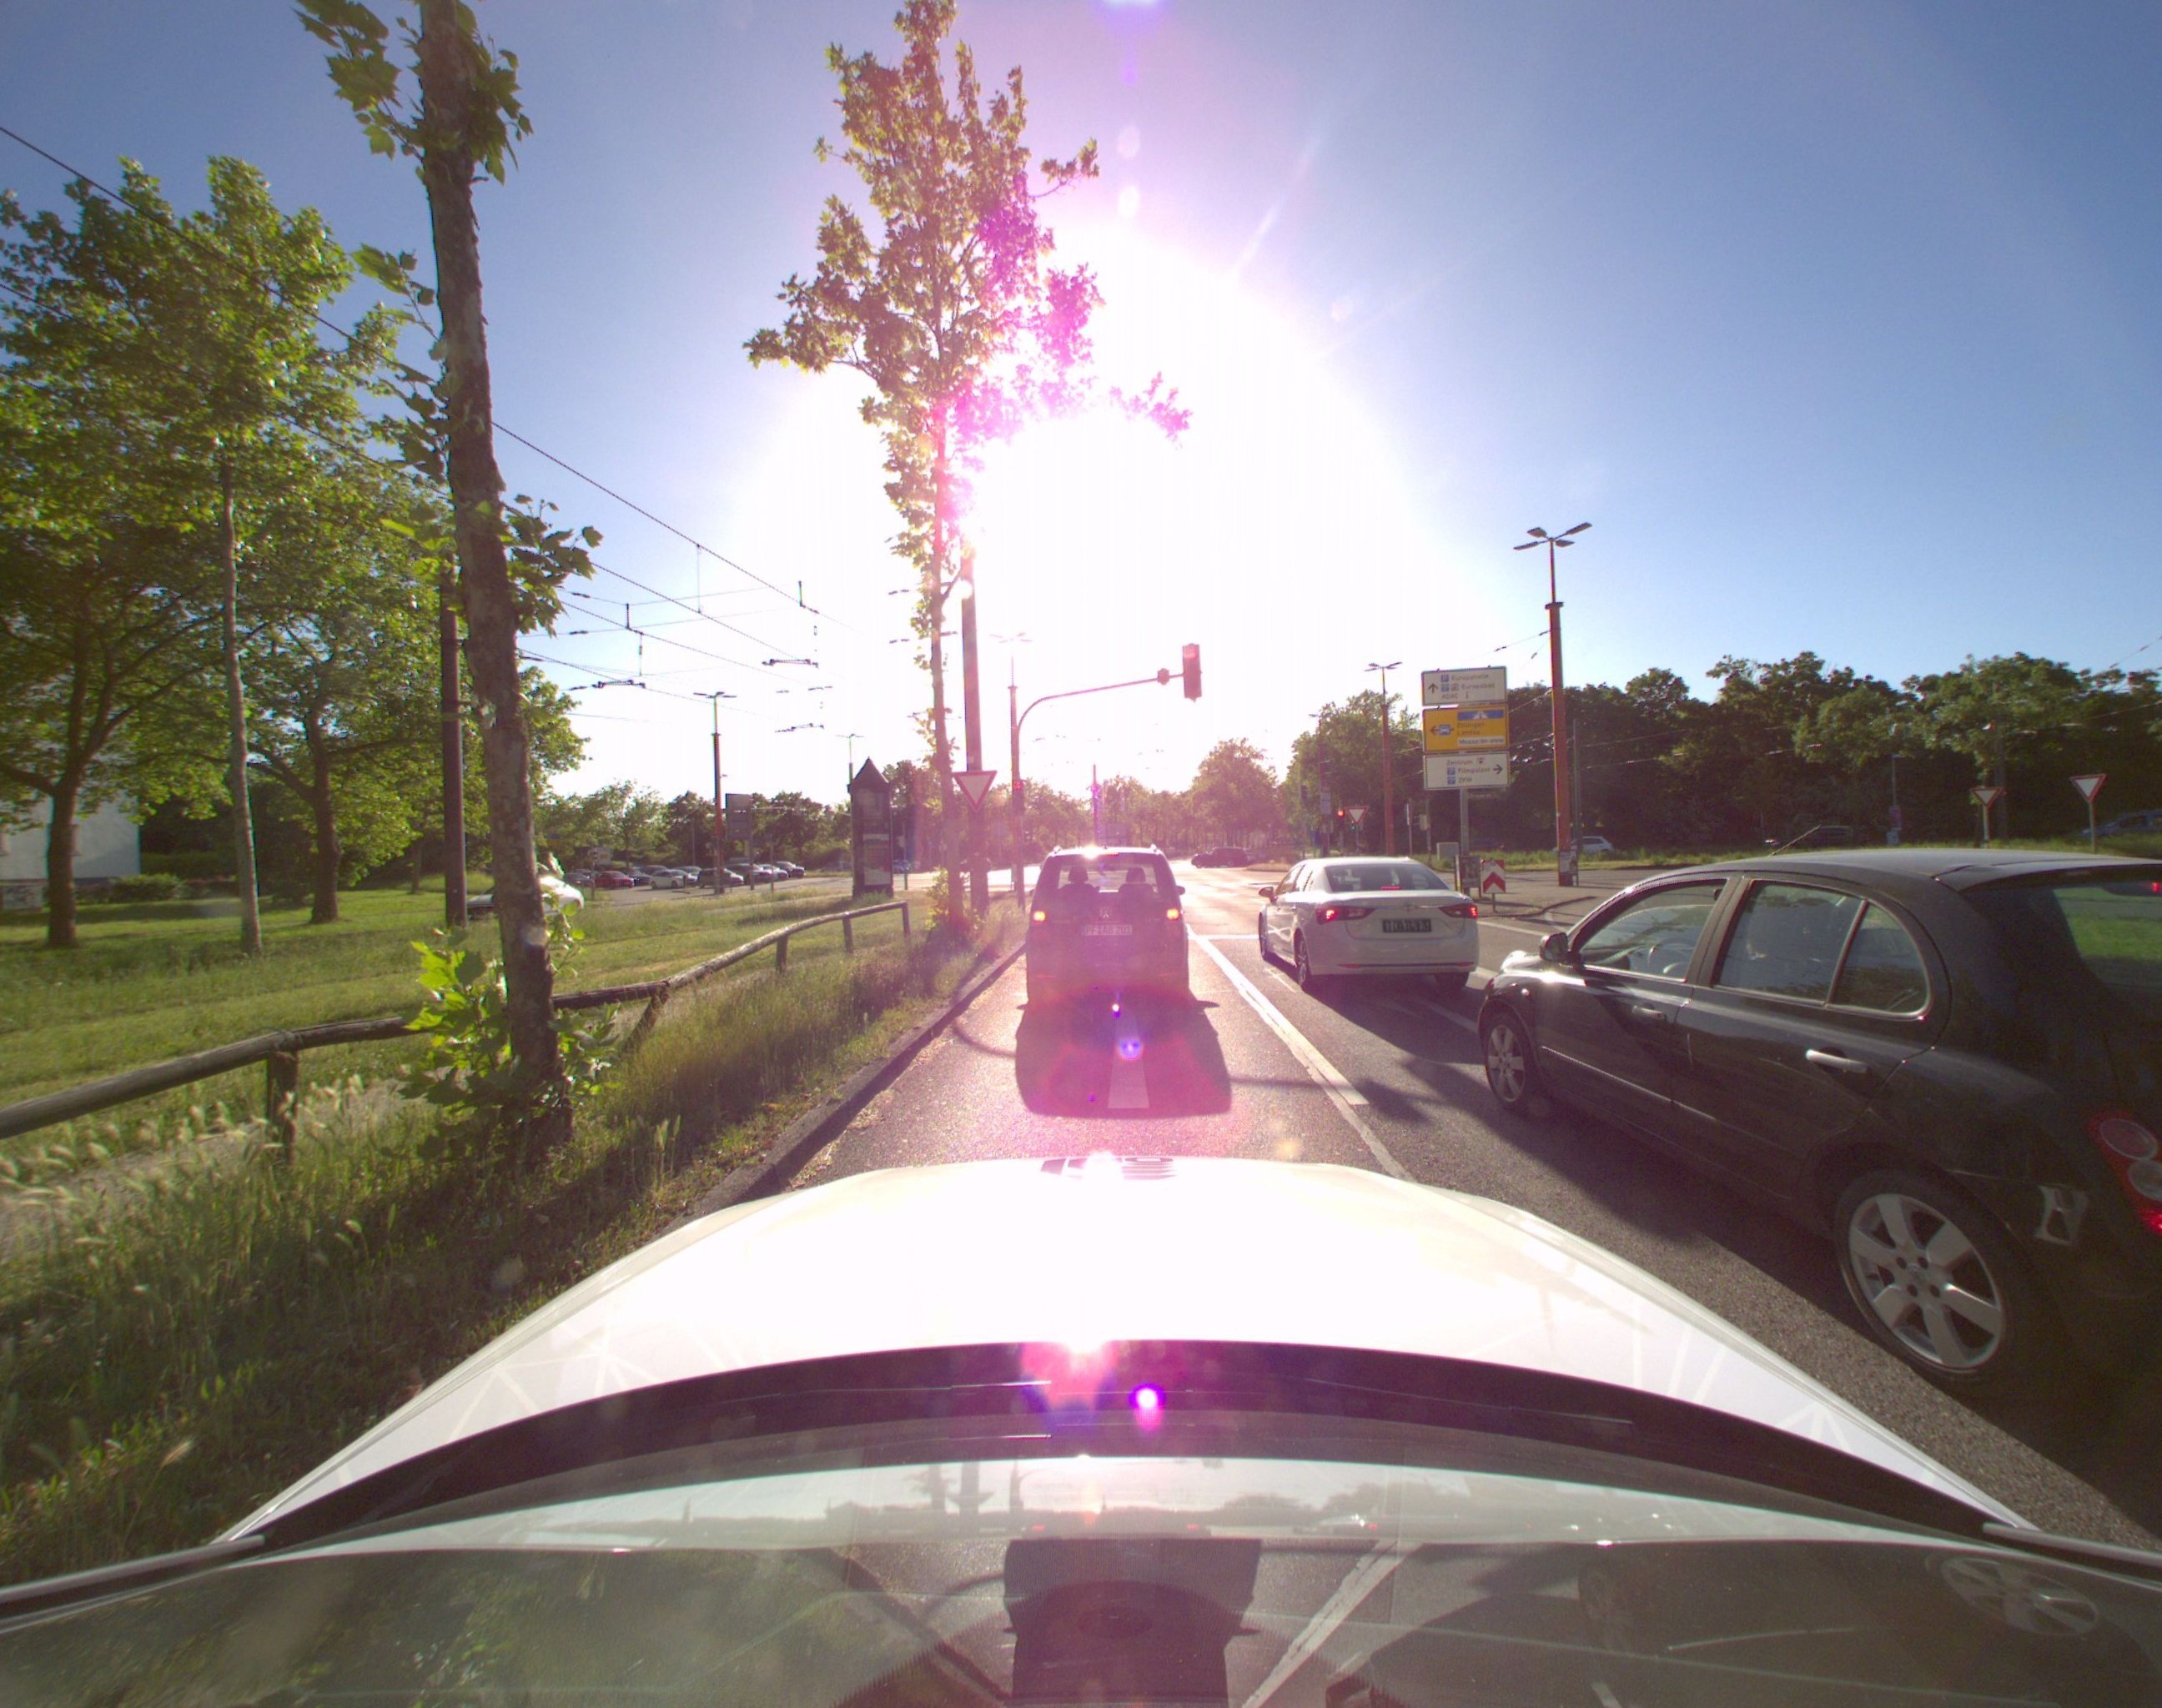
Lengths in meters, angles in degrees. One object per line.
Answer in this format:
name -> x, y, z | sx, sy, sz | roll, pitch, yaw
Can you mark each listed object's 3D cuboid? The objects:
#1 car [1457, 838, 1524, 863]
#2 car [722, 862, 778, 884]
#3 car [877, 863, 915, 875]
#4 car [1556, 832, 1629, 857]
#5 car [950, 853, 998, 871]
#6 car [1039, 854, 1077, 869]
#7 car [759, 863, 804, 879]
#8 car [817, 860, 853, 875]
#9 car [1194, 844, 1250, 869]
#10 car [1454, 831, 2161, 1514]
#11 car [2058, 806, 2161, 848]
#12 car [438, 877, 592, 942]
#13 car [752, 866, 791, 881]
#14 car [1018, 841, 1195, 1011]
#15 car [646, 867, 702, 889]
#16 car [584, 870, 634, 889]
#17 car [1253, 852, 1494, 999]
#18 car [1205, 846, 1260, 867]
car -> 29.926, -0.260, 59.571 | 4.250, 1.705, 1.858 | -2, 0, 29
car -> -26.570, 1.540, 65.369 | 3.950, 1.644, 2.012 | -2, 0, 26
car -> -19.743, 1.612, 86.763 | 3.792, 1.264, 1.613 | 0, -1, 28
car -> 33.586, -0.622, 53.581 | 3.961, 1.527, 1.718 | -2, 0, 30
car -> -10.164, 0.796, 77.249 | 3.987, 1.596, 2.012 | -2, 0, 25
car -> -2.151, 0.704, 77.223 | 3.404, 1.368, 1.298 | 0, -1, 28
car -> -26.724, 1.530, 72.719 | 3.948, 1.330, 1.709 | -2, 0, 33
car -> -25.452, 1.402, 84.279 | 3.363, 1.457, 1.473 | -2, 0, 25
car -> 11.448, 0.203, 66.107 | 4.154, 1.883, 1.777 | -2, 0, 25
car -> 3.228, 0.691, 3.577 | 1.647, 1.500, 3.617 | -1, 0, 2
car -> 54.134, -1.402, 42.058 | 4.207, 2.013, 2.012 | -2, 0, 30
car -> -17.891, 1.675, 26.090 | 1.992, 1.731, 4.833 | -1, 0, -7
car -> -26.298, 1.627, 69.224 | 3.129, 1.198, 1.539 | -2, 0, 33
car -> 0.303, 0.702, 9.938 | 1.694, 1.621, 3.898 | -2, 0, 1
car -> -32.322, 1.893, 64.646 | 4.135, 1.612, 1.880 | -2, 0, 27
car -> -39.488, 2.160, 68.092 | 3.949, 1.513, 1.743 | -2, 0, 27
car -> 3.328, 0.710, 10.146 | 1.713, 1.438, 4.202 | -1, 0, 3
car -> 12.883, 0.246, 69.338 | 4.188, 1.681, 1.713 | -2, 0, 31
